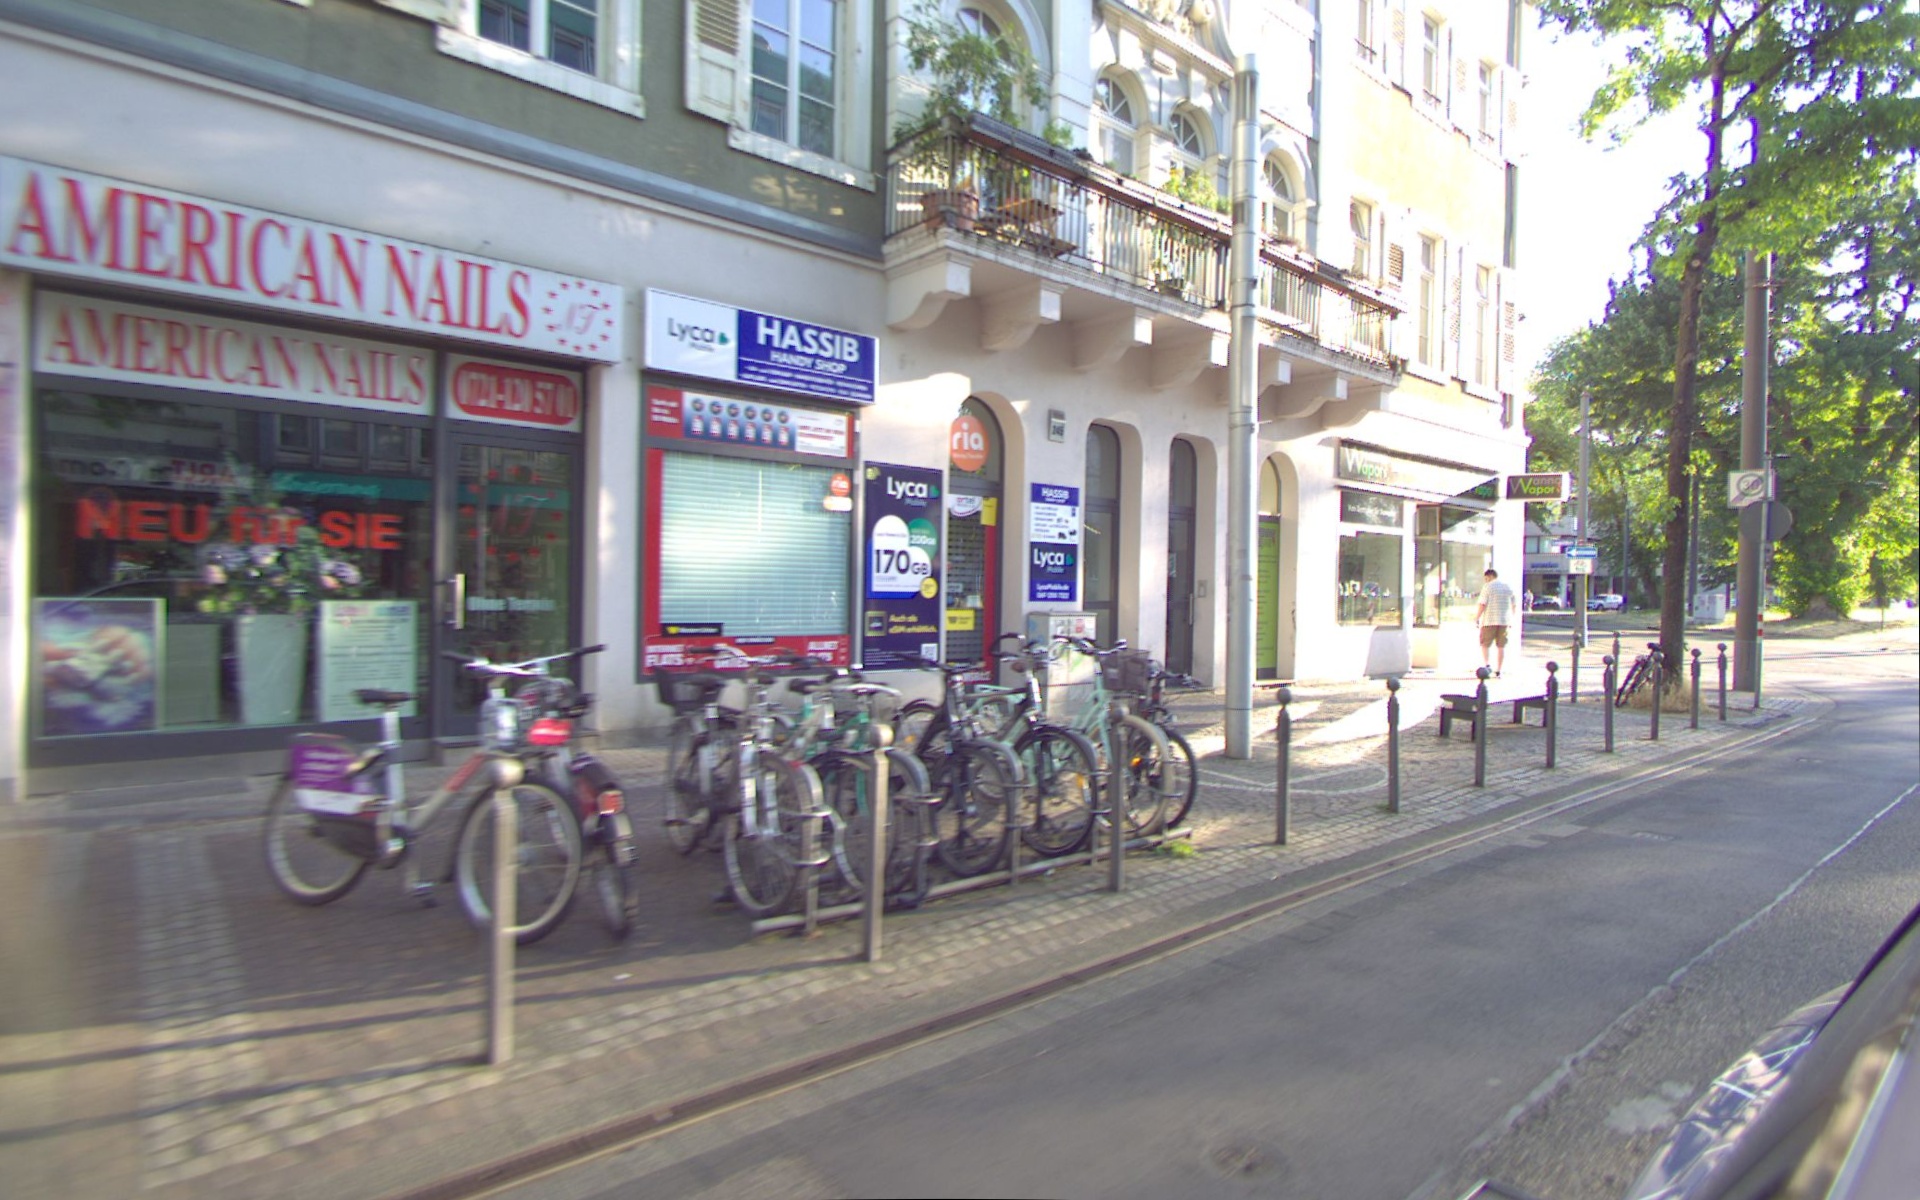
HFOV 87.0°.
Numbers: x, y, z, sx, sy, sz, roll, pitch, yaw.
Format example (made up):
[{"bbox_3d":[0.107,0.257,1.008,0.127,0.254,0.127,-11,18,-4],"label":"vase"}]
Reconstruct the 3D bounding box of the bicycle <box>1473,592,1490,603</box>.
[{"bbox_3d":[51.316,-0.265,99.583,1.430,1.005,0.527,2,3,24],"label":"bicycle"}]

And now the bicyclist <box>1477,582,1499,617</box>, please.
[{"bbox_3d":[31.005,-0.021,59.460,0.912,1.999,1.107,-1,0,17],"label":"bicyclist"}]

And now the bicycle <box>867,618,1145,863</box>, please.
[{"bbox_3d":[0.191,0.715,5.944,0.552,1.169,1.871,0,1,-38],"label":"bicycle"}]

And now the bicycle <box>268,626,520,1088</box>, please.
[{"bbox_3d":[-2.190,0.759,3.786,0.552,1.168,1.872,0,3,-38],"label":"bicycle"}]

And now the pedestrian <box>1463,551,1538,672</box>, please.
[{"bbox_3d":[9.319,0.184,17.477,0.828,2.039,0.846,0,0,1],"label":"pedestrian"}]

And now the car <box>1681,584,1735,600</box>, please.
[{"bbox_3d":[75.940,-0.819,102.773,4.429,1.626,2.004,-1,0,-13],"label":"car"}]

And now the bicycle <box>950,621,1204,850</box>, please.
[{"bbox_3d":[0.643,0.739,6.234,0.341,1.169,1.871,0,1,-38],"label":"bicycle"}]

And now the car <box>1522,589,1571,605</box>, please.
[{"bbox_3d":[56.438,-0.296,97.416,3.916,1.460,1.798,-1,0,-14],"label":"car"}]

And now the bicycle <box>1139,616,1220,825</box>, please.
[{"bbox_3d":[1.432,0.717,6.773,0.454,1.169,1.677,0,1,10],"label":"bicycle"}]

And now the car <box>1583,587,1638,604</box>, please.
[{"bbox_3d":[63.927,-0.439,99.502,4.429,1.626,2.004,-1,0,-13],"label":"car"}]

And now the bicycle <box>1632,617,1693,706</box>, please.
[{"bbox_3d":[9.627,0.811,13.843,1.671,1.090,0.354,-1,1,-44],"label":"bicycle"}]

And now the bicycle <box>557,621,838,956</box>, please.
[{"bbox_3d":[-1.280,0.710,4.624,0.552,1.169,1.871,0,1,-38],"label":"bicycle"}]

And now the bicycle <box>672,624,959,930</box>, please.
[{"bbox_3d":[-0.795,0.737,4.998,0.552,1.169,1.871,0,1,-38],"label":"bicycle"}]

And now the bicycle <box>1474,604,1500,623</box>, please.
[{"bbox_3d":[31.073,0.782,59.676,0.923,1.090,2.209,0,0,17],"label":"bicycle"}]

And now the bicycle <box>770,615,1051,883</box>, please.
[{"bbox_3d":[-0.348,0.688,5.497,0.552,1.169,1.871,0,1,-38],"label":"bicycle"}]

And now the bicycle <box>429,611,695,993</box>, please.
[{"bbox_3d":[-1.777,0.695,4.317,0.552,1.168,1.872,0,3,-38],"label":"bicycle"}]
